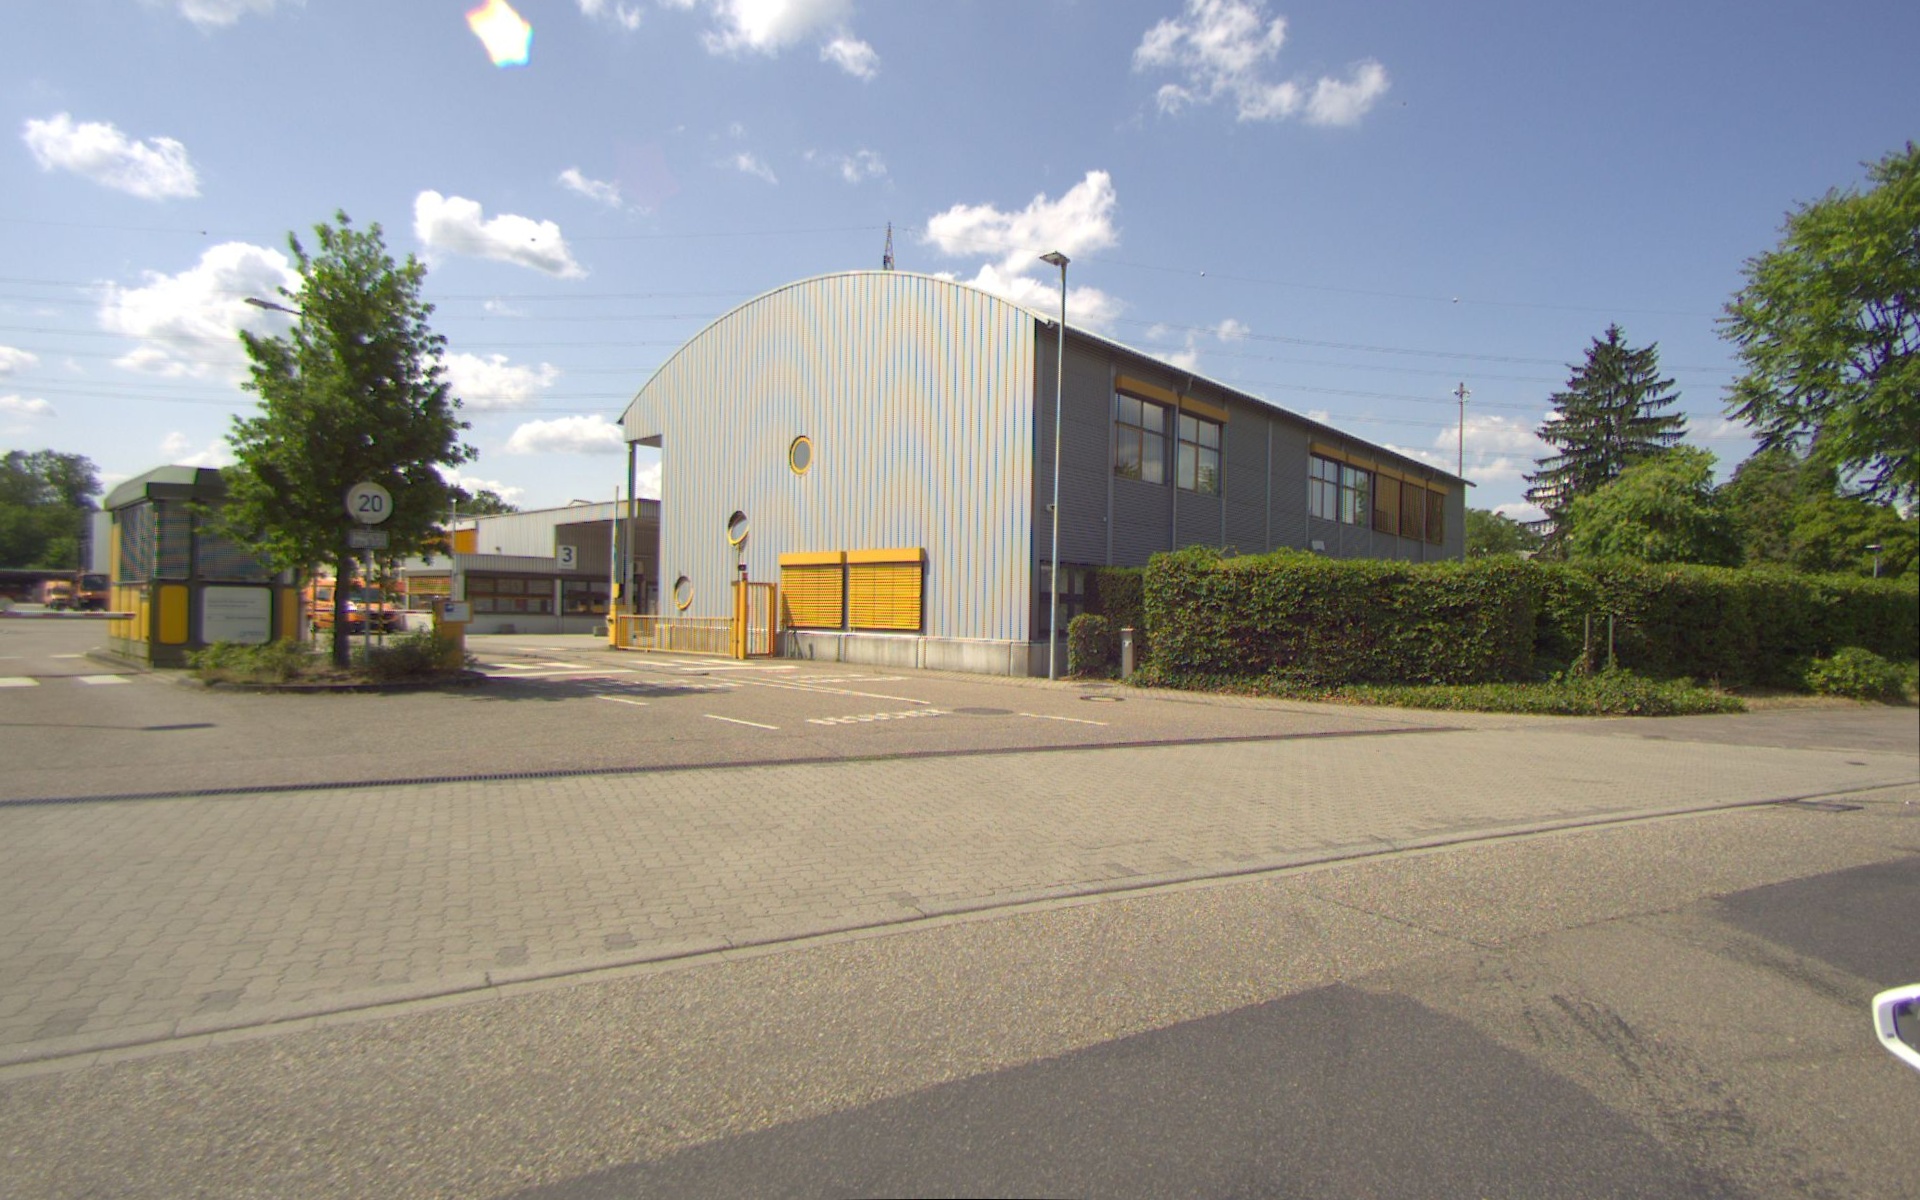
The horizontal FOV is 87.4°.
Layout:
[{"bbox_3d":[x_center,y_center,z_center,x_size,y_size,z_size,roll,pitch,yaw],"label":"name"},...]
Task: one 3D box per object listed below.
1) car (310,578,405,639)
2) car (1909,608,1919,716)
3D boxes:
[{"bbox_3d":[-25.014,0.312,41.645,4.560,2.274,2.032,3,1,41],"label":"car"},{"bbox_3d":[16.573,0.991,15.158,4.417,1.595,1.752,2,0,-25],"label":"car"}]
